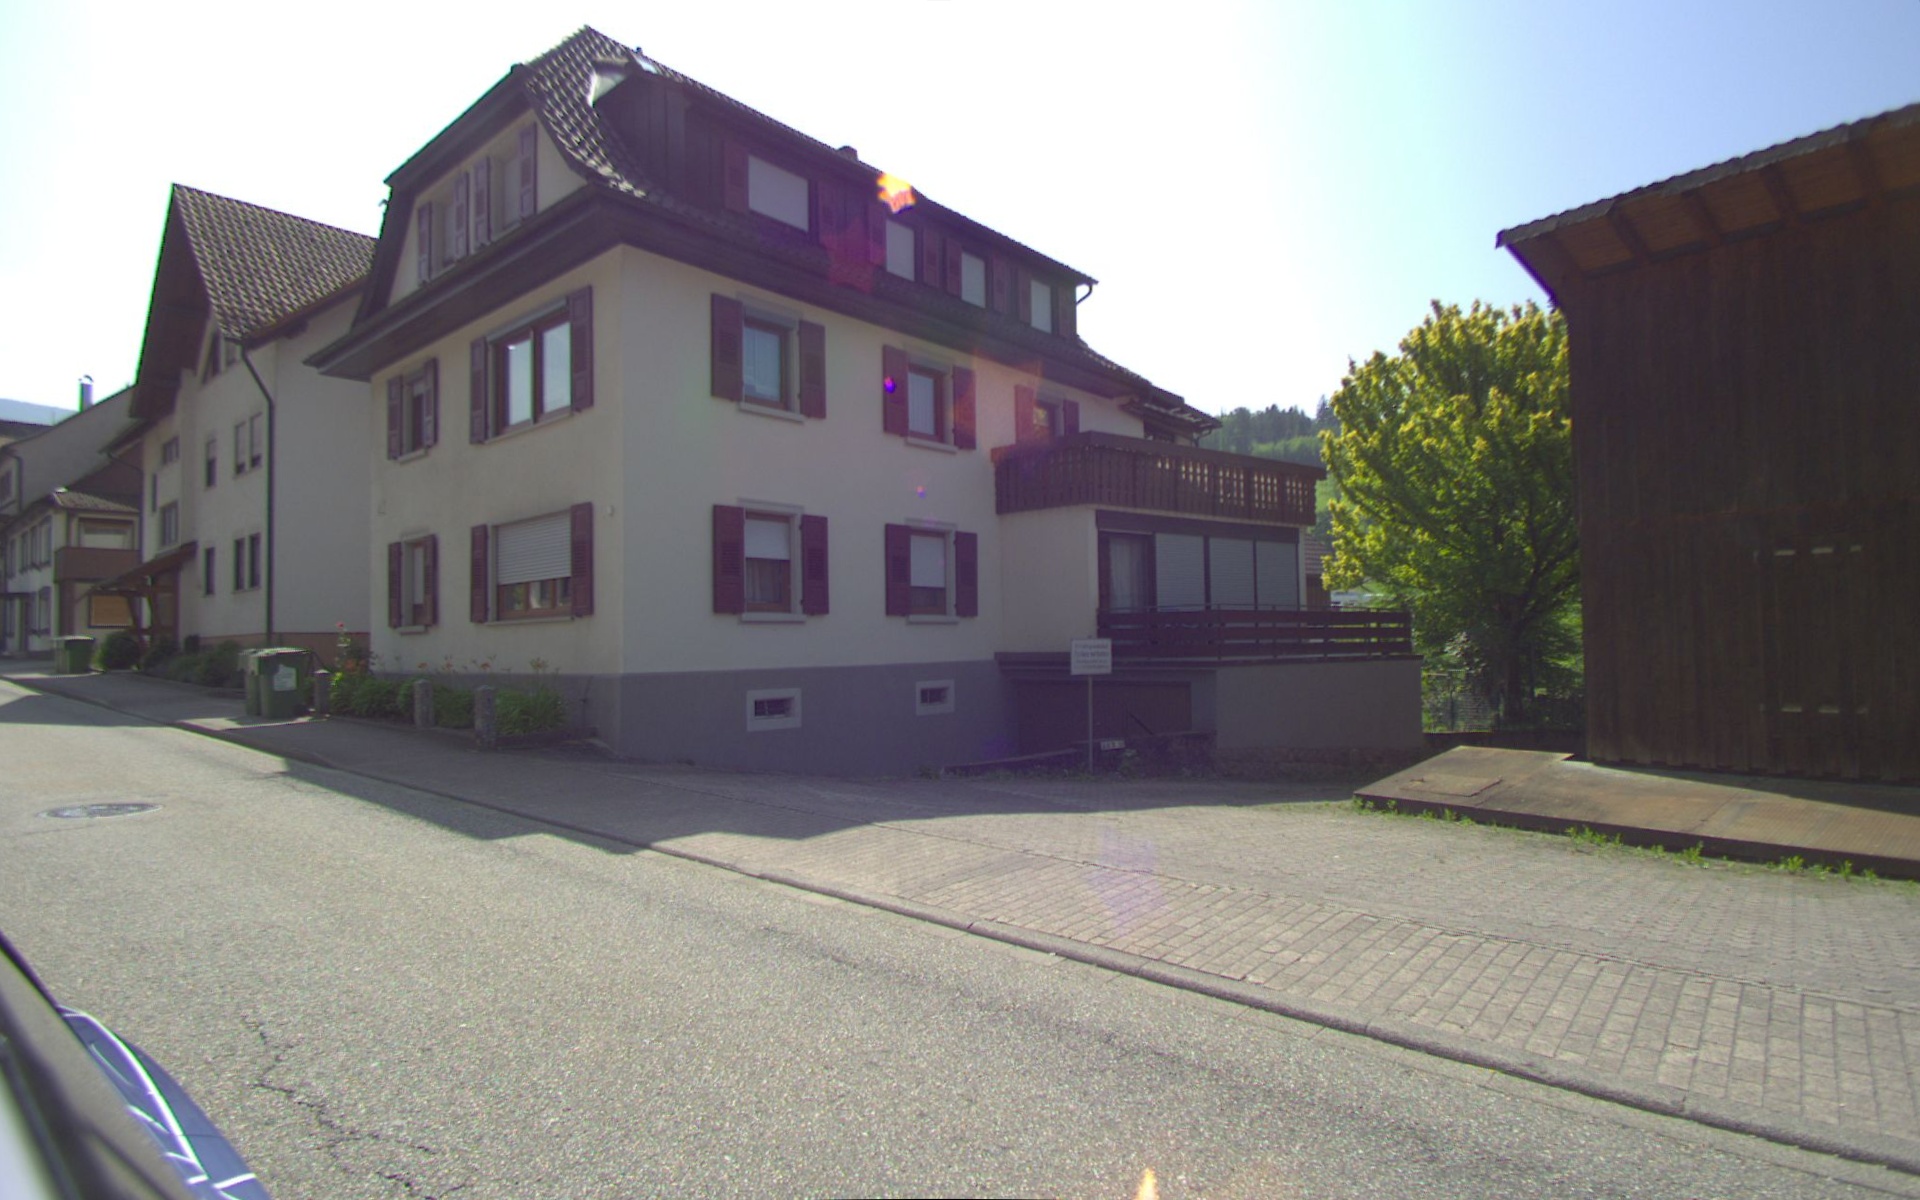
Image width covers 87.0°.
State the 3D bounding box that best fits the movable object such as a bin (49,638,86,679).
[{"bbox_3d":[-26.583,1.742,30.150,0.597,1.190,0.710,-2,-4,41],"label":"movable object such as a bin"}]

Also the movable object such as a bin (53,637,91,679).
[{"bbox_3d":[-26.078,1.705,29.738,0.597,1.190,0.710,-2,-4,41],"label":"movable object such as a bin"}]

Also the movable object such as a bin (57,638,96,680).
[{"bbox_3d":[-25.580,1.698,29.310,0.597,1.190,0.710,-2,-4,41],"label":"movable object such as a bin"}]

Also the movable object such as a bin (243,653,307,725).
[{"bbox_3d":[-10.766,1.384,15.913,0.621,1.075,0.669,-1,-3,39],"label":"movable object such as a bin"}]

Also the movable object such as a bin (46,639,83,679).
[{"bbox_3d":[-27.075,1.787,30.587,0.597,1.190,0.710,-2,-4,41],"label":"movable object such as a bin"}]

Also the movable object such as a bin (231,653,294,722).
[{"bbox_3d":[-11.354,1.414,16.483,0.653,1.075,0.669,-1,-3,39],"label":"movable object such as a bin"}]
